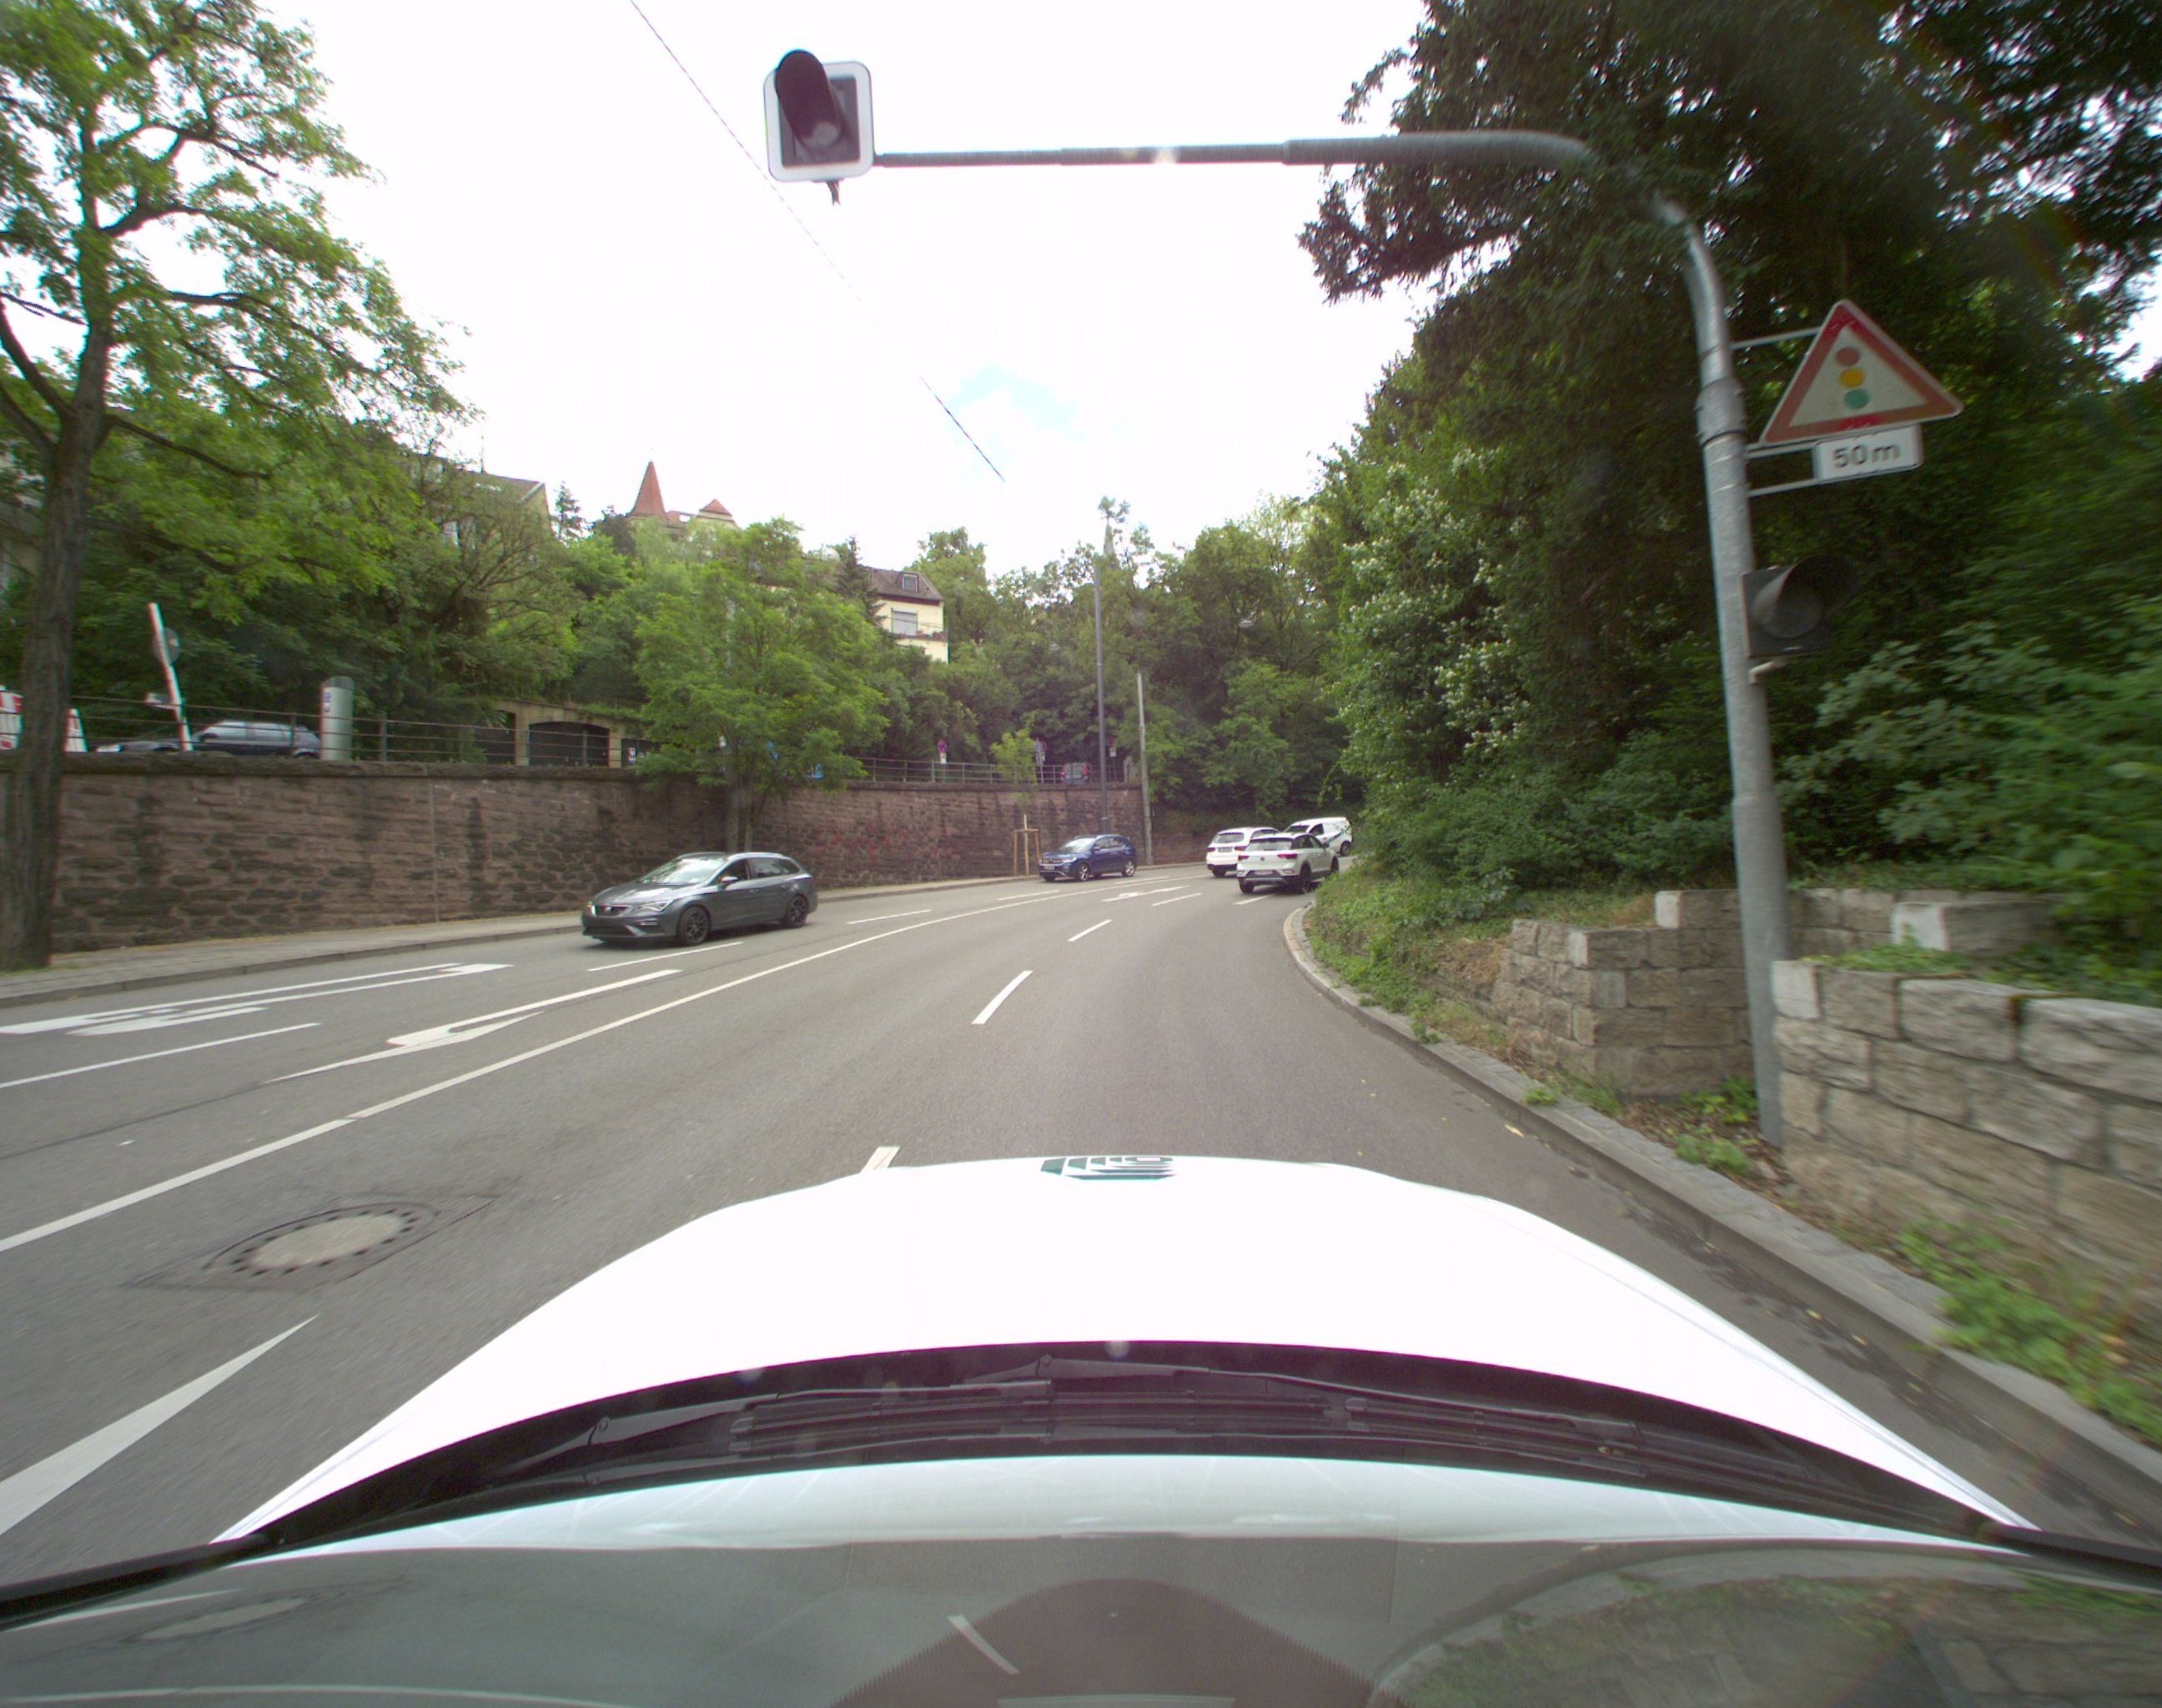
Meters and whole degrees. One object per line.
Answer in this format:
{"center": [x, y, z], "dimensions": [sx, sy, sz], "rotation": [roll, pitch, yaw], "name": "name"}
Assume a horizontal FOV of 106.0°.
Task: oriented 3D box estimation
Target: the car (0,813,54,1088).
{"center": [-8.218, 0.631, 3.464], "dimensions": [1.847, 1.814, 4.456], "rotation": [1, 0, 5], "name": "car"}

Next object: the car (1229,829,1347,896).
{"center": [5.832, 0.149, 22.583], "dimensions": [1.737, 1.552, 4.366], "rotation": [0, 3, 34], "name": "car"}

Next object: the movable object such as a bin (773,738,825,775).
{"center": [-12.143, -4.188, 35.133], "dimensions": [1.236, 1.356, 1.615], "rotation": [-4, 0, 38], "name": "movable object such as a bin"}

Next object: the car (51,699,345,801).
{"center": [-19.322, -2.189, 18.118], "dimensions": [1.756, 1.640, 4.079], "rotation": [-1, -1, 13], "name": "car"}

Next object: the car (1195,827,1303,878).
{"center": [6.060, -0.101, 28.983], "dimensions": [1.841, 1.605, 4.701], "rotation": [-1, 2, 38], "name": "car"}

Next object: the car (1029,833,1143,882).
{"center": [0.245, 0.082, 29.206], "dimensions": [1.710, 1.527, 4.228], "rotation": [0, 2, 41], "name": "car"}

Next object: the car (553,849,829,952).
{"center": [-6.517, 0.674, 14.258], "dimensions": [1.769, 1.466, 4.423], "rotation": [0, 1, 18], "name": "car"}

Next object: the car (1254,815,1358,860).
{"center": [10.178, -0.762, 36.788], "dimensions": [4.686, 1.763, 1.809], "rotation": [-4, 3, -32], "name": "car"}

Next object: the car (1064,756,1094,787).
{"center": [-0.074, -4.781, 47.421], "dimensions": [1.671, 1.379, 3.736], "rotation": [-1, -1, 1], "name": "car"}
